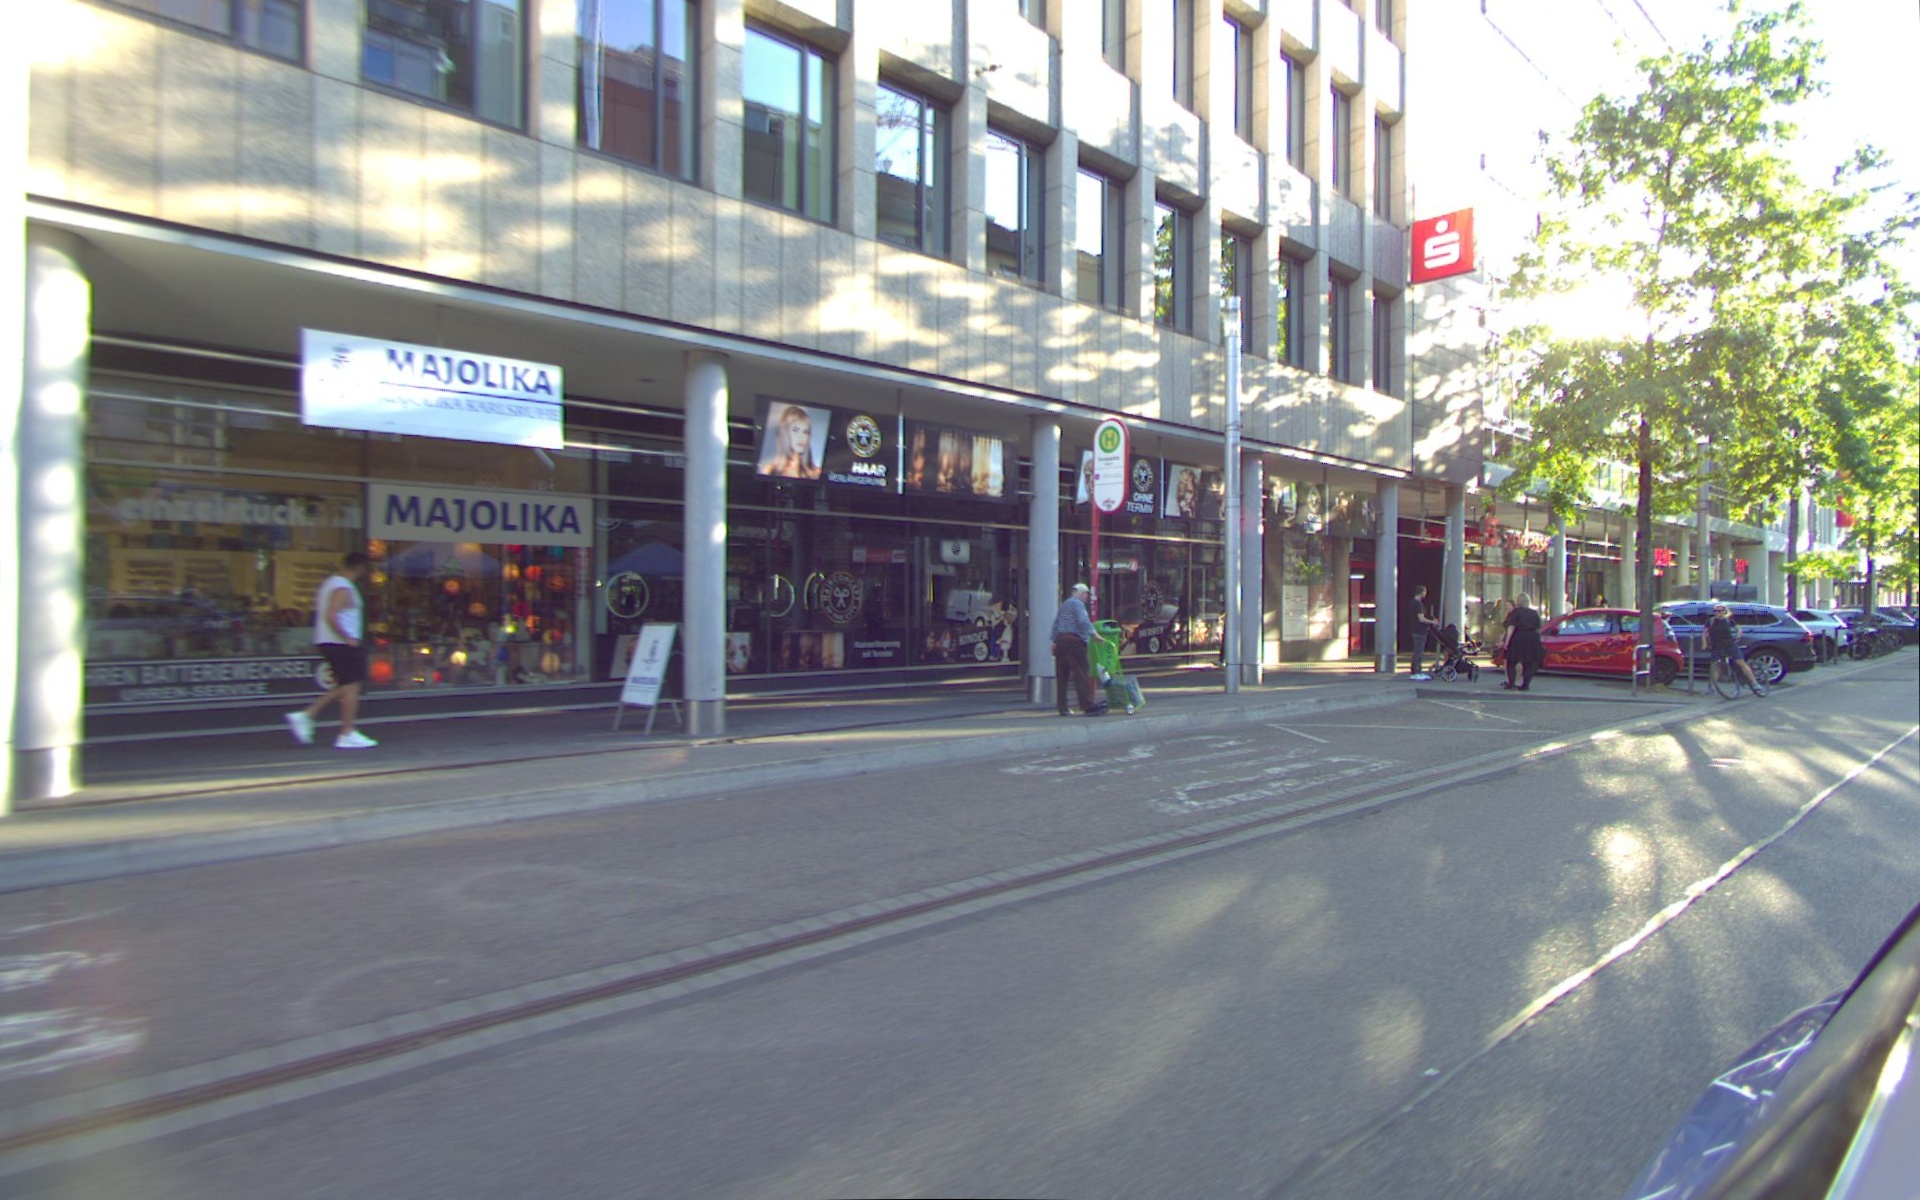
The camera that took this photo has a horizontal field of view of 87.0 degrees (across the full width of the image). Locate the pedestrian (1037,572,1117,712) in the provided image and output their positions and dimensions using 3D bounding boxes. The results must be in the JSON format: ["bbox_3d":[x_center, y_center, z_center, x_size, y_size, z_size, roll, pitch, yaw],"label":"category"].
[{"bbox_3d":[1.384,0.489,11.989,0.621,1.593,0.682,1,-2,-40],"label":"pedestrian"}]

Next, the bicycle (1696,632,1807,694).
[{"bbox_3d":[13.845,1.080,17.690,2.016,1.008,0.721,0,-2,-27],"label":"bicycle"}]

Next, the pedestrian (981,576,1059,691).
[{"bbox_3d":[0.871,0.472,14.693,0.909,1.609,0.697,1,-1,-41],"label":"pedestrian"}]

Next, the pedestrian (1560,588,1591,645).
[{"bbox_3d":[19.459,0.510,32.011,0.588,1.765,0.626,1,1,-35],"label":"pedestrian"}]

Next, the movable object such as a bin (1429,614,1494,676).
[{"bbox_3d":[9.380,0.836,18.945,0.818,1.077,0.689,2,1,1],"label":"movable object such as a bin"}]

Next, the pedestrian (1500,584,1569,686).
[{"bbox_3d":[9.906,0.594,17.471,0.682,1.706,0.682,2,1,-7],"label":"pedestrian"}]

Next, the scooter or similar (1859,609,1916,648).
[{"bbox_3d":[33.456,1.015,36.520,1.290,1.291,0.561,4,3,18],"label":"scooter or similar"}]

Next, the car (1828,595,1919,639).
[{"bbox_3d":[42.443,0.795,45.569,4.610,1.785,1.982,3,2,20],"label":"car"}]

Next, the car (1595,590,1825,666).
[{"bbox_3d":[18.764,0.655,25.560,4.194,1.607,1.873,3,2,18],"label":"car"}]

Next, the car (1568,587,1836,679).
[{"bbox_3d":[15.935,0.657,22.006,4.300,1.672,1.685,3,2,19],"label":"car"}]

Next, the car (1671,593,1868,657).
[{"bbox_3d":[23.959,0.697,30.143,4.103,1.591,1.845,3,1,17],"label":"car"}]

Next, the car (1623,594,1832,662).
[{"bbox_3d":[20.420,0.686,27.146,4.118,1.517,1.674,3,2,26],"label":"car"}]

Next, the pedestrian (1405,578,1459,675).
[{"bbox_3d":[8.827,0.474,18.951,0.621,1.753,0.689,2,1,1],"label":"pedestrian"}]

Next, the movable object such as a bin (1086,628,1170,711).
[{"bbox_3d":[2.009,0.813,12.129,0.705,0.936,0.691,1,-2,-41],"label":"movable object such as a bin"}]

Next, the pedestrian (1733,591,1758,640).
[{"bbox_3d":[28.144,0.556,36.271,0.677,1.718,0.543,0,-1,37],"label":"pedestrian"}]

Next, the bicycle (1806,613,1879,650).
[{"bbox_3d":[29.729,1.052,34.113,1.676,1.119,0.627,3,3,24],"label":"bicycle"}]

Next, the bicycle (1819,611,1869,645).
[{"bbox_3d":[32.665,1.025,37.417,0.543,1.121,1.843,3,2,13],"label":"bicycle"}]

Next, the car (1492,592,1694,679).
[{"bbox_3d":[12.937,0.669,20.899,3.370,1.499,1.650,3,2,30],"label":"car"}]

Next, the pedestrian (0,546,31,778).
[{"bbox_3d":[-7.606,0.458,7.626,0.842,1.722,0.745,1,-1,-41],"label":"pedestrian"}]

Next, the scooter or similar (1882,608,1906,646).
[{"bbox_3d":[32.935,0.943,35.683,1.284,1.291,0.451,0,4,-42],"label":"scooter or similar"}]

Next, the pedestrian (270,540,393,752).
[{"bbox_3d":[-5.728,0.392,9.224,0.842,1.816,0.745,1,-1,-41],"label":"pedestrian"}]

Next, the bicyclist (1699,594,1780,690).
[{"bbox_3d":[13.716,0.728,17.819,0.894,1.634,0.781,0,-2,-27],"label":"bicyclist"}]

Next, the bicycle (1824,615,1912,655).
[{"bbox_3d":[28.582,1.087,31.887,1.873,1.133,0.663,3,2,21],"label":"bicycle"}]

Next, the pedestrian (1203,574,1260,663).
[{"bbox_3d":[5.638,0.372,21.022,0.768,1.807,0.846,1,-1,-40],"label":"pedestrian"}]

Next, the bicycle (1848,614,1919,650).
[{"bbox_3d":[31.717,1.084,34.752,1.544,1.102,0.864,4,1,19],"label":"bicycle"}]

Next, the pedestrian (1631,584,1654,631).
[{"bbox_3d":[26.596,0.283,39.458,0.515,1.772,0.558,1,2,-41],"label":"pedestrian"}]

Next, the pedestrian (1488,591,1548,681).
[{"bbox_3d":[10.086,0.635,18.311,0.677,1.571,0.607,2,1,3],"label":"pedestrian"}]

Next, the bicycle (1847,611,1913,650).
[{"bbox_3d":[30.227,0.992,33.249,1.662,1.177,0.481,2,2,-1],"label":"bicycle"}]

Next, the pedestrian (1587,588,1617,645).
[{"bbox_3d":[20.187,0.506,31.818,0.589,1.765,0.625,1,1,-42],"label":"pedestrian"}]

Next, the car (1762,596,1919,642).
[{"bbox_3d":[34.903,0.721,39.638,4.986,1.487,1.970,3,2,14],"label":"car"}]

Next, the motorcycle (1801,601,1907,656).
[{"bbox_3d":[27.415,0.863,31.073,2.279,1.528,0.858,2,2,6],"label":"motorcycle"}]
